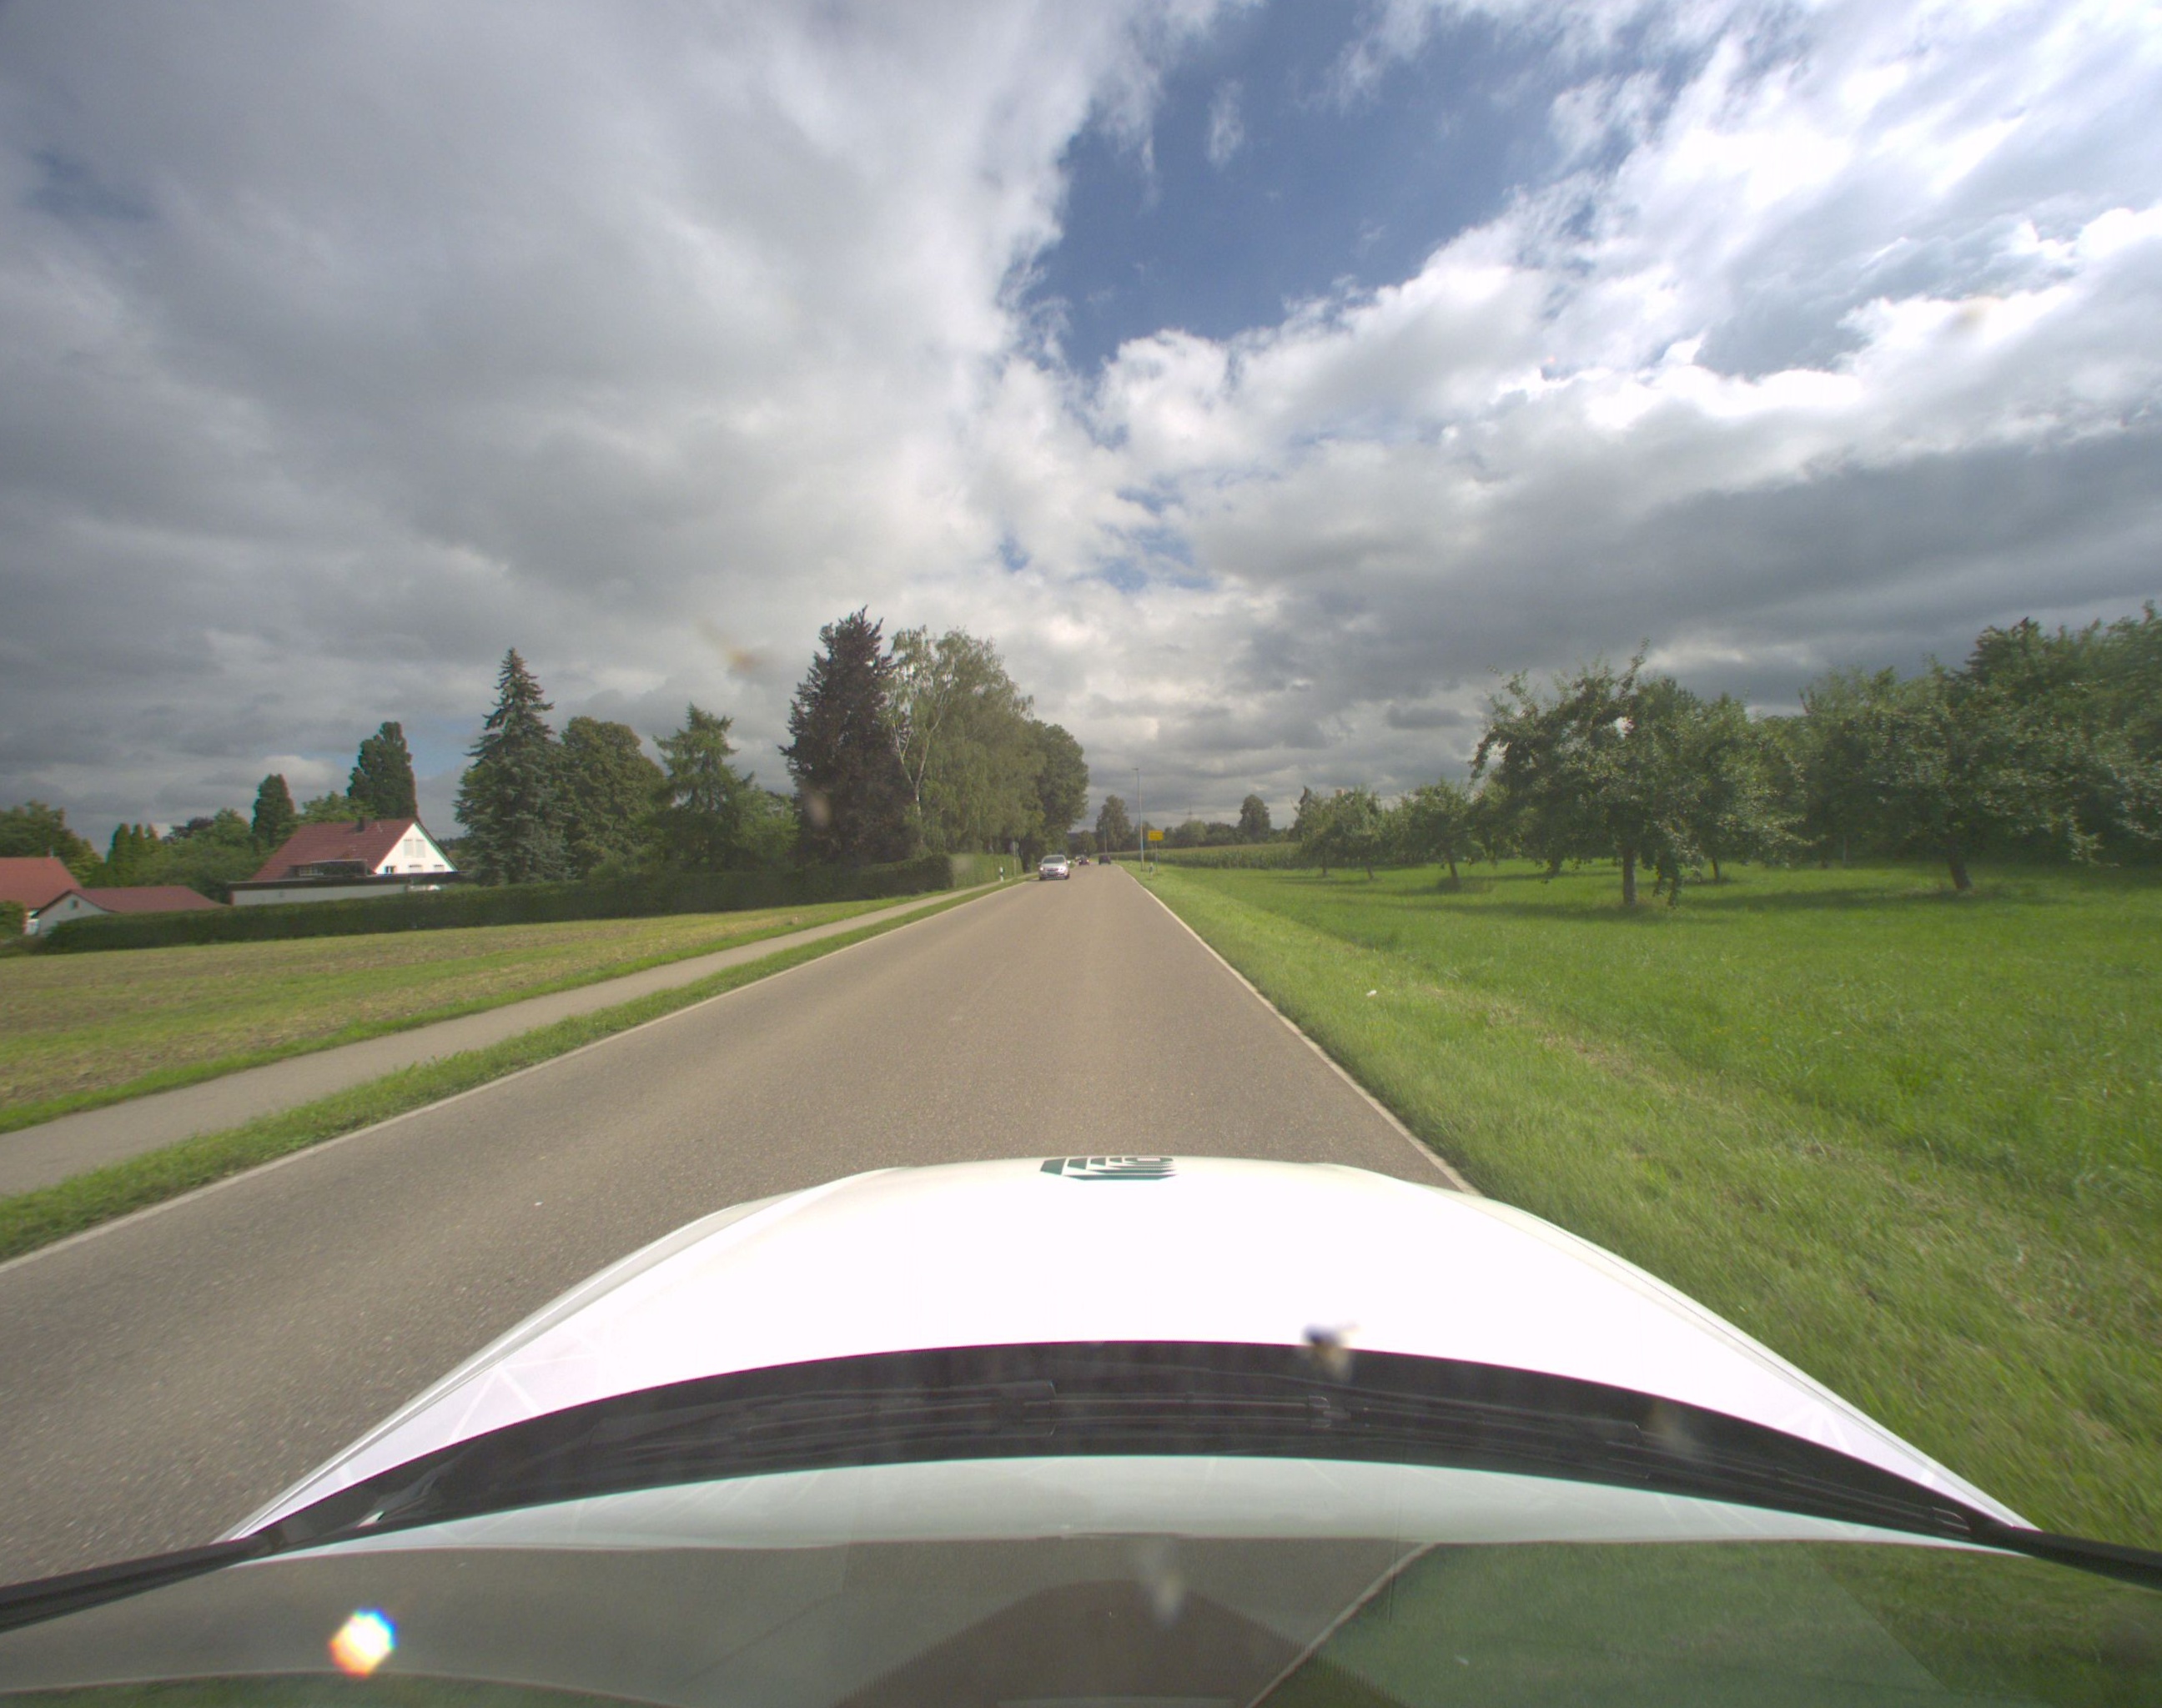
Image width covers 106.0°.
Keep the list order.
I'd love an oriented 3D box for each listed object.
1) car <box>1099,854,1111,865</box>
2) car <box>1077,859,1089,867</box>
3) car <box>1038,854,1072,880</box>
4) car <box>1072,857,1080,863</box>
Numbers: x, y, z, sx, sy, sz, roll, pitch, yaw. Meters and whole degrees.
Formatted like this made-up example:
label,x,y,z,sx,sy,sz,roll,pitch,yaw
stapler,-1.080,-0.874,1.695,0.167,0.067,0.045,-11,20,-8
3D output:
label,x,y,z,sx,sy,sz,roll,pitch,yaw
car,3.812,0.841,128.916,1.899,1.666,4.001,-3,0,1
car,0.332,1.522,133.757,1.739,1.222,3.544,-4,-1,2
car,-1.524,0.750,48.475,1.688,1.459,3.544,-3,0,2
car,-1.259,1.511,197.153,1.739,1.222,3.545,-4,0,2
